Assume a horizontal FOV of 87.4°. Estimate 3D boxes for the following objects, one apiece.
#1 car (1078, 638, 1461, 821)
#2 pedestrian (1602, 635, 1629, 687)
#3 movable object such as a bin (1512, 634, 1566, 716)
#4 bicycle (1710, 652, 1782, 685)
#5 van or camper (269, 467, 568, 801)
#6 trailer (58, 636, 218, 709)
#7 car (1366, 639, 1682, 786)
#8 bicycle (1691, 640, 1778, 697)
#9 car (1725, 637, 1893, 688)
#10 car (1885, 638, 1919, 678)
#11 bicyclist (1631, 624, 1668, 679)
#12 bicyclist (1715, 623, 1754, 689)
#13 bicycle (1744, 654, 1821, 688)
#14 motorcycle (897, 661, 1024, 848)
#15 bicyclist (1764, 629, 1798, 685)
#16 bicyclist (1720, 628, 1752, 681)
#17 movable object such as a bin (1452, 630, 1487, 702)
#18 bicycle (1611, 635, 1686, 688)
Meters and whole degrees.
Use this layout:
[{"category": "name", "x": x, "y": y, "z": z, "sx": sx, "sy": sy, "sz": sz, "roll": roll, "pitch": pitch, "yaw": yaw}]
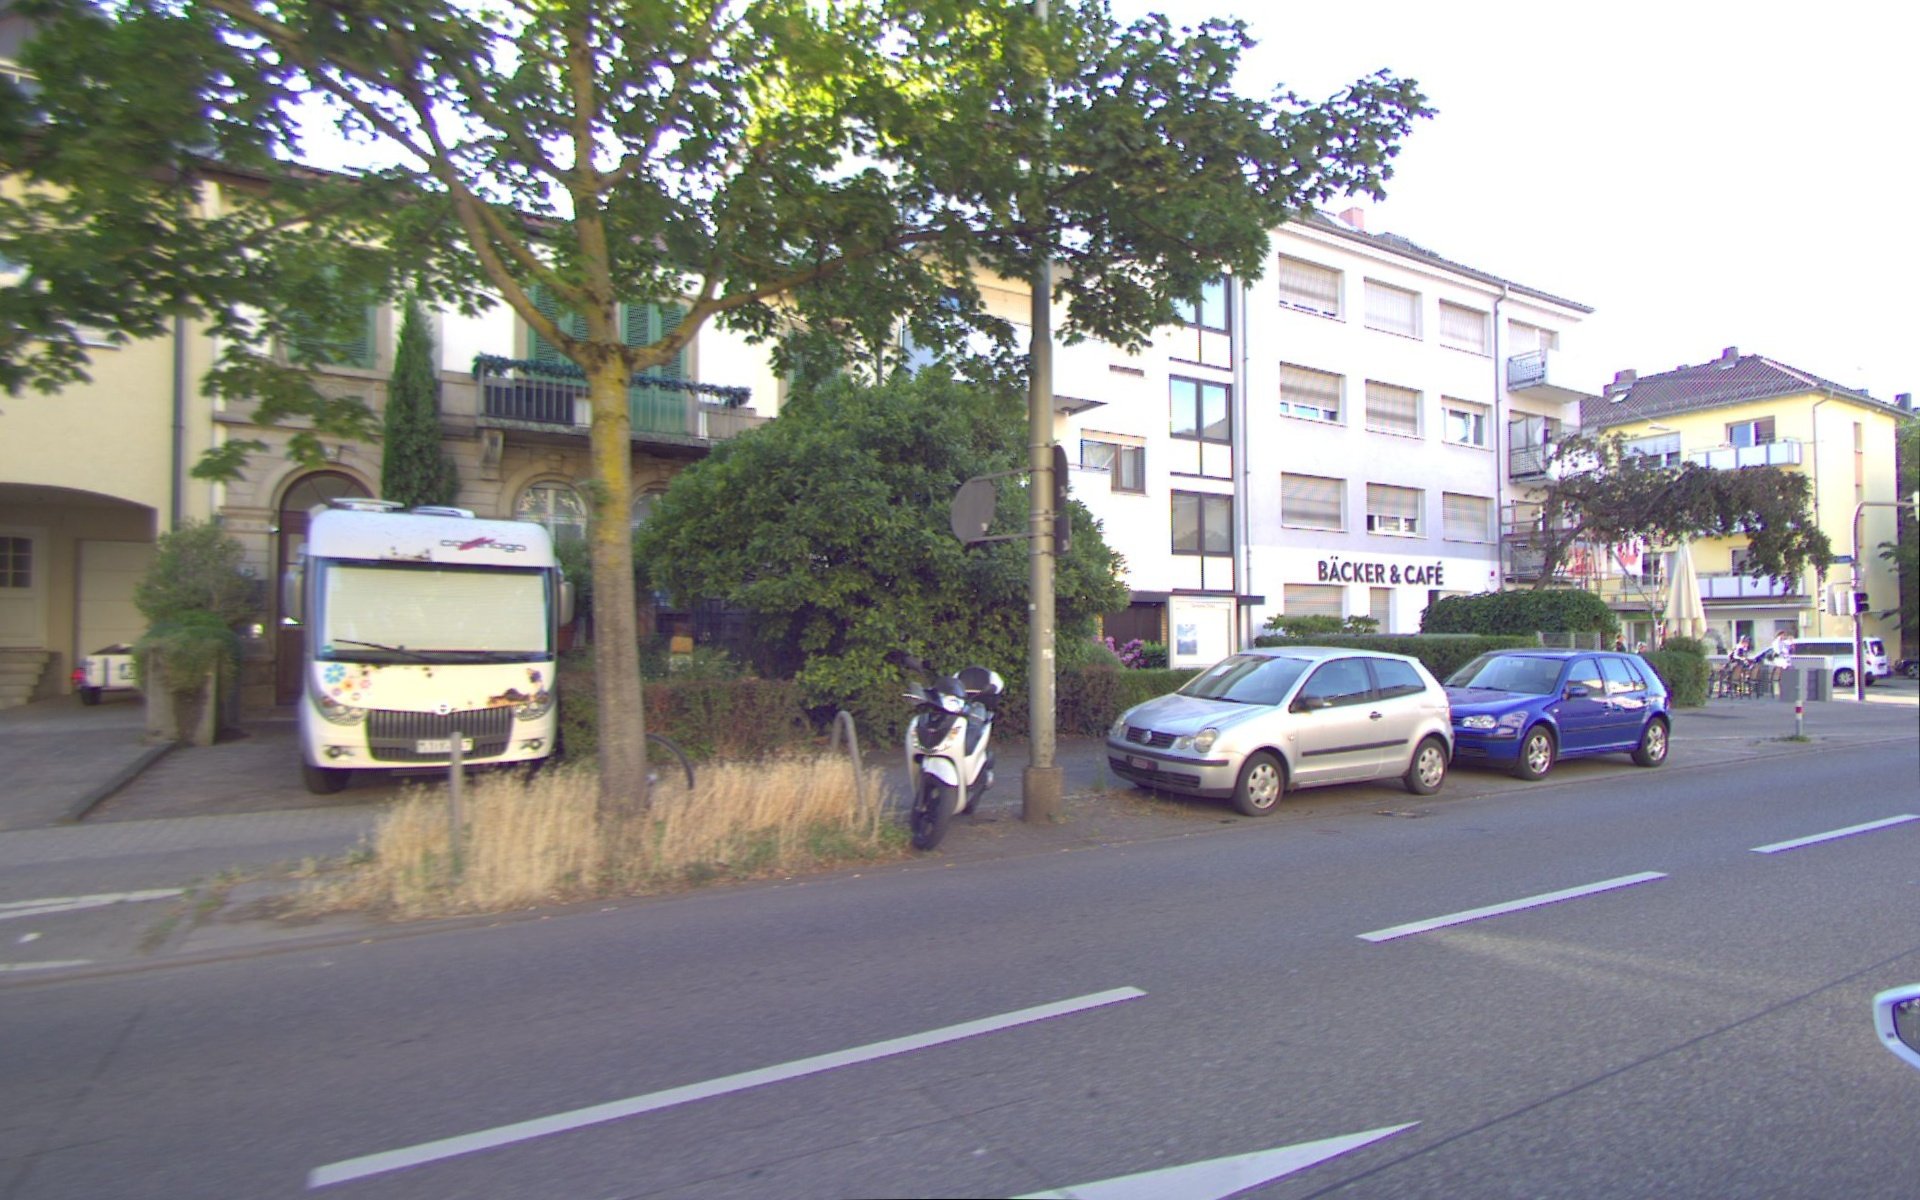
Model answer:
[{"category": "car", "x": 3.182, "y": 1.168, "z": 10.162, "sx": 3.759, "sy": 1.490, "sz": 1.586, "roll": 2, "pitch": 0, "yaw": -31}, {"category": "pedestrian", "x": 21.639, "y": 2.013, "z": 33.174, "sx": 0.638, "sy": 1.697, "sz": 0.573, "roll": 2, "pitch": -3, "yaw": -40}, {"category": "movable object such as a bin", "x": 11.129, "y": 1.423, "z": 19.325, "sx": 0.732, "sy": 1.532, "sz": 0.590, "roll": 1, "pitch": -2, "yaw": -28}, {"category": "bicycle", "x": 27.498, "y": 2.387, "z": 35.162, "sx": 0.713, "sy": 1.085, "sz": 1.885, "roll": 2, "pitch": -3, "yaw": -39}, {"category": "van or camper", "x": -6.507, "y": 0.290, "z": 11.957, "sx": 2.325, "sy": 2.809, "sz": 6.763, "roll": 1, "pitch": 0, "yaw": -31}, {"category": "trailer", "x": -13.224, "y": 1.120, "z": 16.296, "sx": 1.608, "sy": 0.973, "sz": 2.392, "roll": 1, "pitch": 0, "yaw": -30}, {"category": "car", "x": 7.067, "y": 1.277, "z": 12.495, "sx": 4.026, "sy": 1.537, "sz": 1.641, "roll": 2, "pitch": -1, "yaw": -31}, {"category": "bicycle", "x": 24.443, "y": 2.129, "z": 31.728, "sx": 0.749, "sy": 1.728, "sz": 2.011, "roll": 1, "pitch": -3, "yaw": -32}, {"category": "car", "x": 32.701, "y": 2.358, "z": 38.843, "sx": 1.840, "sy": 1.835, "sz": 4.612, "roll": 1, "pitch": -3, "yaw": -30}, {"category": "car", "x": 39.364, "y": 2.315, "z": 39.104, "sx": 1.840, "sy": 1.555, "sz": 4.612, "roll": 1, "pitch": -2, "yaw": -30}, {"category": "bicyclist", "x": 23.039, "y": 1.713, "z": 33.585, "sx": 0.702, "sy": 1.823, "sz": 0.782, "roll": 1, "pitch": -2, "yaw": -32}, {"category": "bicyclist", "x": 24.486, "y": 1.771, "z": 31.758, "sx": 0.835, "sy": 2.040, "sz": 0.721, "roll": 1, "pitch": -2, "yaw": -33}, {"category": "bicycle", "x": 27.438, "y": 2.367, "z": 33.543, "sx": 0.713, "sy": 1.085, "sz": 1.885, "roll": 2, "pitch": -3, "yaw": -39}, {"category": "motorcycle", "x": 0.065, "y": 1.148, "z": 8.140, "sx": 0.751, "sy": 1.281, "sz": 2.056, "roll": 0, "pitch": -3, "yaw": 8}, {"category": "bicyclist", "x": 27.426, "y": 1.891, "z": 33.554, "sx": 0.648, "sy": 1.847, "sz": 0.733, "roll": 2, "pitch": -3, "yaw": -39}, {"category": "bicyclist", "x": 27.342, "y": 1.910, "z": 35.386, "sx": 0.648, "sy": 1.847, "sz": 0.733, "roll": 2, "pitch": -3, "yaw": -39}, {"category": "movable object such as a bin", "x": 10.390, "y": 1.336, "z": 20.494, "sx": 0.569, "sy": 1.446, "sz": 0.390, "roll": 1, "pitch": -2, "yaw": -32}, {"category": "bicycle", "x": 23.022, "y": 2.044, "z": 33.611, "sx": 0.749, "sy": 1.728, "sz": 1.909, "roll": 1, "pitch": -3, "yaw": -32}]
